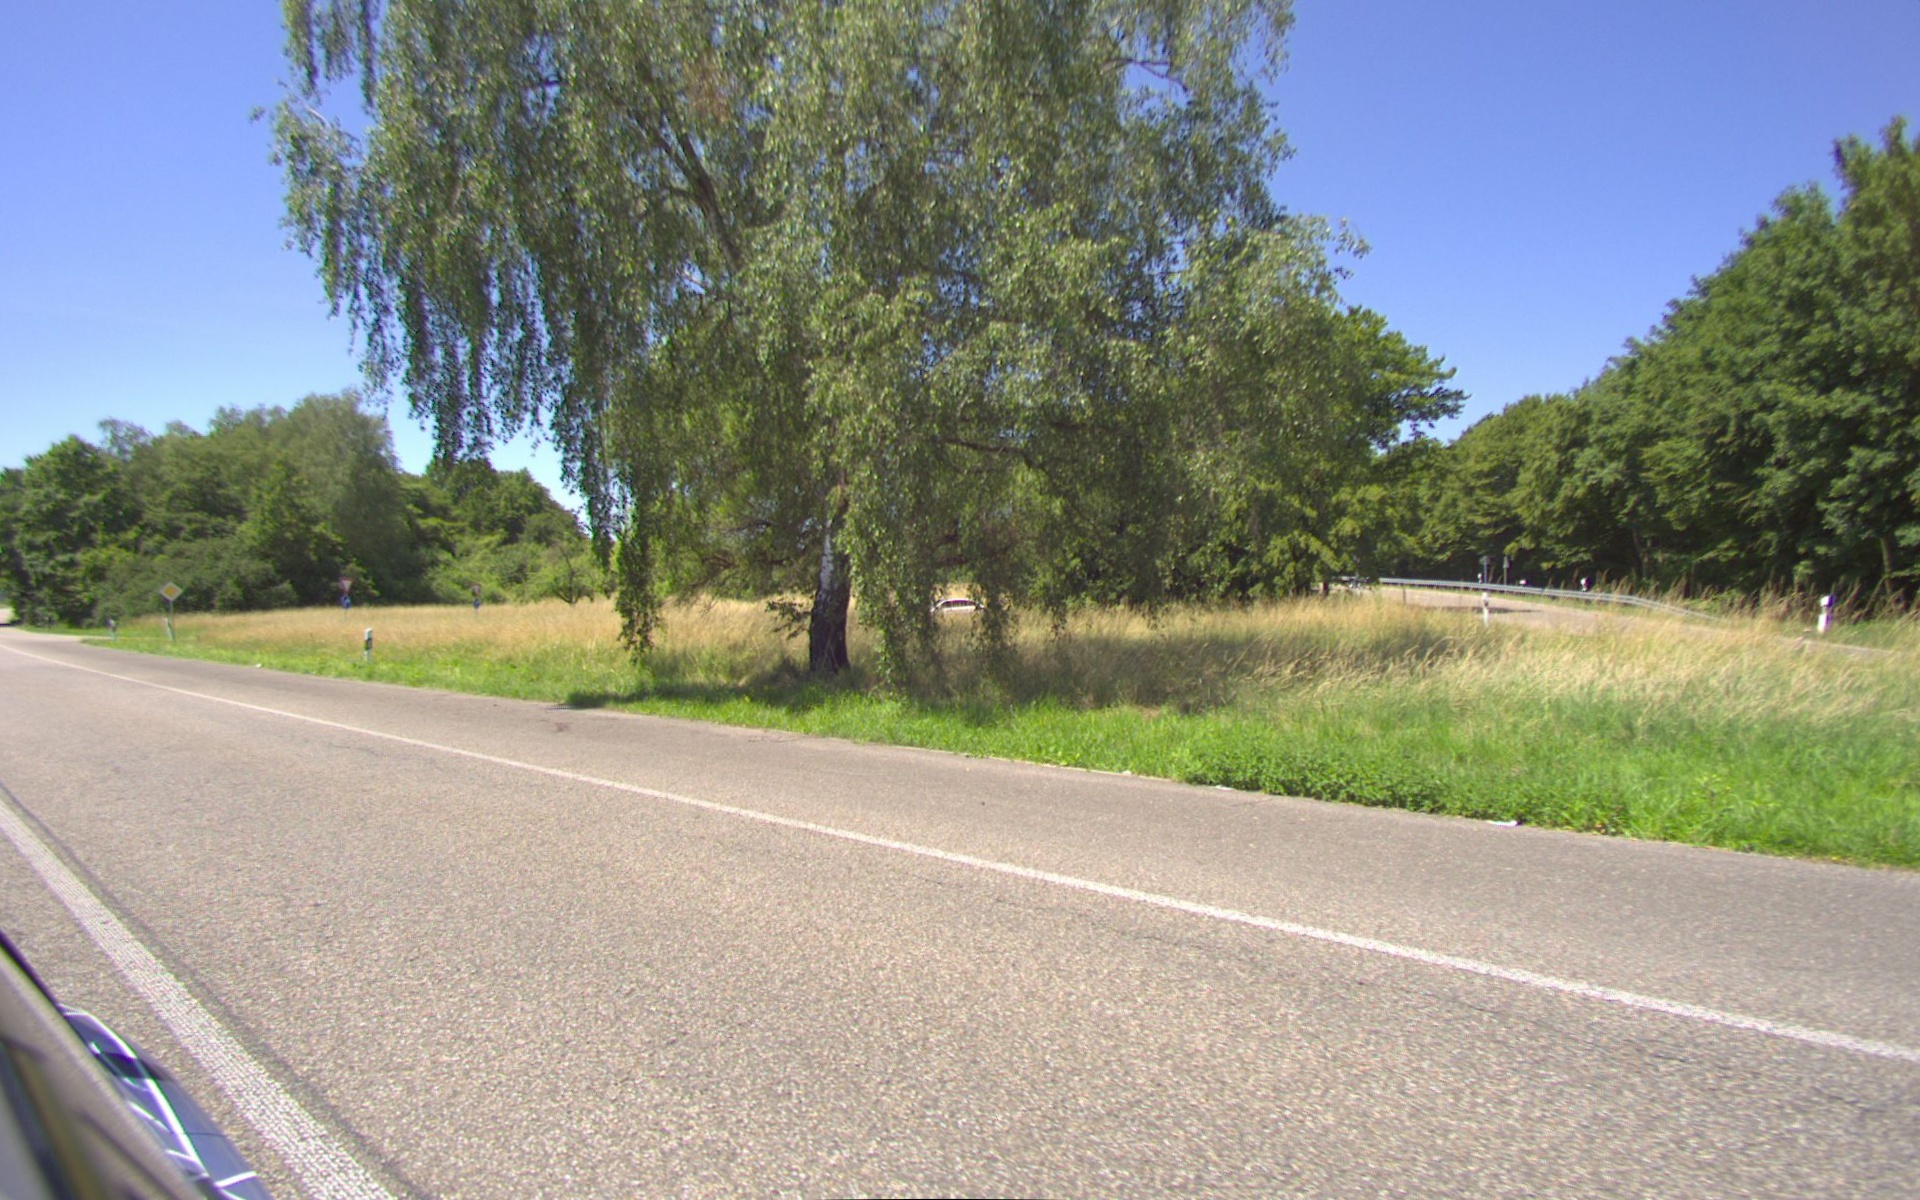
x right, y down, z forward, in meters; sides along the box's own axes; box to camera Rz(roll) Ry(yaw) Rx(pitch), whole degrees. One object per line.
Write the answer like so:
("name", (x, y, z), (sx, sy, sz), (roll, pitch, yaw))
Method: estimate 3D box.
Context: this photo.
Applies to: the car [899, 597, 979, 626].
("car", (-1.110, 0.620, 53.555), (3.932, 1.478, 1.669), (0, -1, -16))
